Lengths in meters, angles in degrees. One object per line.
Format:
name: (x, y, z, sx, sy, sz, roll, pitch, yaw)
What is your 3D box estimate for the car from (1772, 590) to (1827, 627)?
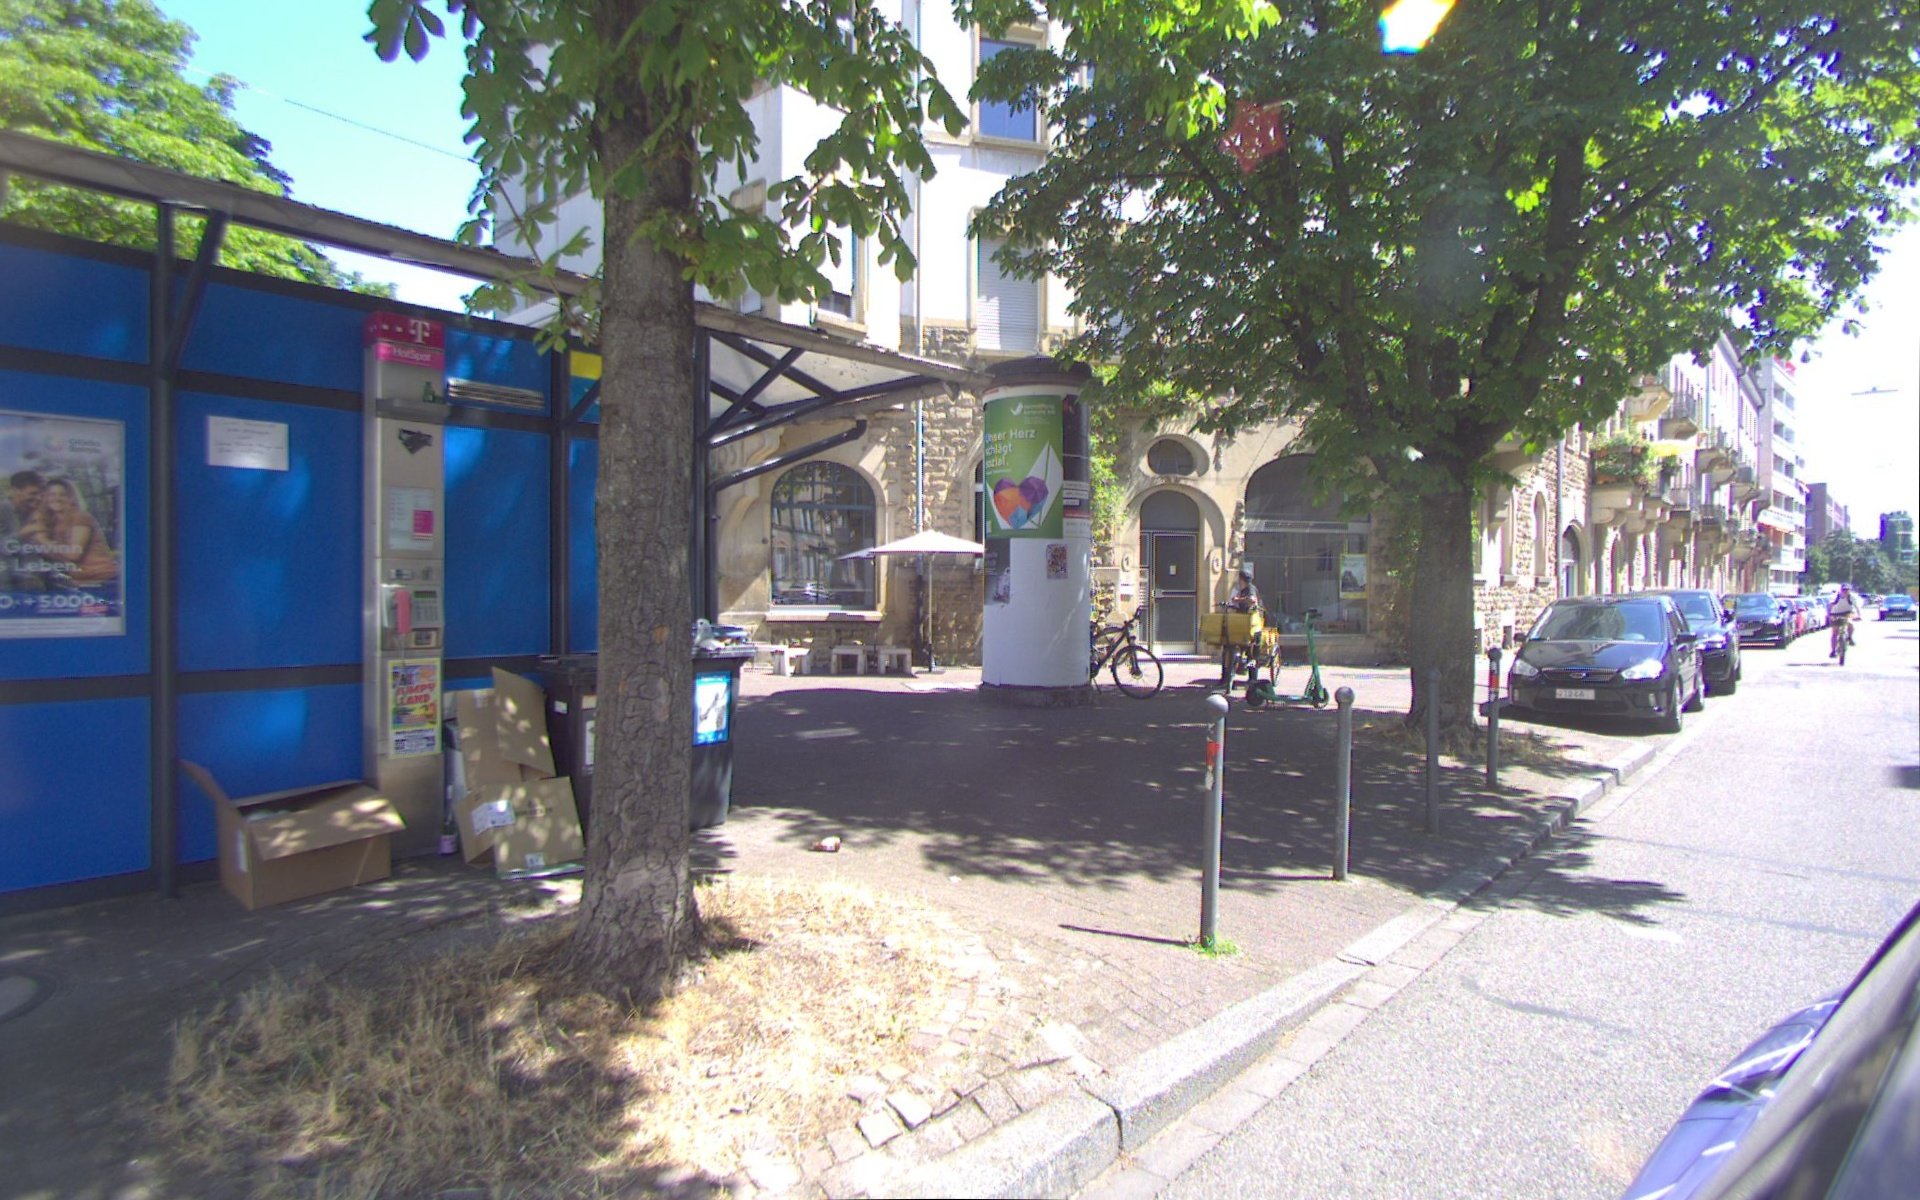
car: (34.630, 0.334, 41.722, 1.588, 1.471, 3.798, -2, 0, 41)

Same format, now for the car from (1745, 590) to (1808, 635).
car: (27.688, 0.393, 34.278, 1.510, 1.416, 3.914, -2, 0, 41)

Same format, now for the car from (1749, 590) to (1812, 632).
car: (31.075, 0.399, 38.289, 1.570, 1.471, 3.783, -2, -1, 43)

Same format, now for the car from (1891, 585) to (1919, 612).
car: (58.998, -0.123, 62.933, 1.620, 1.630, 3.542, 2, 2, 43)

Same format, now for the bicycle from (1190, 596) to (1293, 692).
bicycle: (4.044, 0.564, 14.372, 0.790, 1.183, 2.551, 1, 2, 30)

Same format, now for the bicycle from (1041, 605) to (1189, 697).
bicycle: (2.005, 0.632, 13.291, 1.900, 1.052, 0.624, 2, 2, 44)

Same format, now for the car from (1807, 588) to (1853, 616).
car: (46.353, 0.083, 53.924, 1.821, 1.450, 4.423, 0, 1, 41)

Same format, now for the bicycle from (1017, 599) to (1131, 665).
bicycle: (1.914, 0.527, 17.011, 1.798, 1.052, 0.551, 0, 1, -14)

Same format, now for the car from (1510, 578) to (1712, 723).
car: (8.480, 0.539, 13.016, 1.660, 1.560, 4.117, -2, 0, 40)

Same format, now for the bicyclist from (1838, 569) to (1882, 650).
bicyclist: (18.950, 0.192, 21.308, 0.643, 1.670, 0.612, 2, 1, 44)

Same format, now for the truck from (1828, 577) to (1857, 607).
truck: (83.880, -0.757, 96.169, 1.865, 2.765, 4.437, 2, 2, 43)

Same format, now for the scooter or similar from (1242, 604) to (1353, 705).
scooter or similar: (3.972, 0.629, 11.929, 1.160, 1.150, 0.444, 0, 1, -10)

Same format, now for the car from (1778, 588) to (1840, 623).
car: (38.454, 0.230, 45.816, 4.522, 1.471, 1.717, -1, -1, -45)

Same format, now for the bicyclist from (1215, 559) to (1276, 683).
bicyclist: (3.981, 0.269, 14.111, 0.674, 1.668, 0.655, 1, 1, 29)

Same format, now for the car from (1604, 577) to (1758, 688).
car: (12.187, 0.469, 16.991, 1.733, 1.617, 4.285, -2, 0, 40)

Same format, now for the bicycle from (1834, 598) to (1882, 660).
bicycle: (18.911, 0.583, 21.302, 0.669, 1.190, 2.061, 2, 2, 44)

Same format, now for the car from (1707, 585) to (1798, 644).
car: (23.337, 0.396, 29.725, 1.831, 1.587, 4.536, -2, 0, 41)
